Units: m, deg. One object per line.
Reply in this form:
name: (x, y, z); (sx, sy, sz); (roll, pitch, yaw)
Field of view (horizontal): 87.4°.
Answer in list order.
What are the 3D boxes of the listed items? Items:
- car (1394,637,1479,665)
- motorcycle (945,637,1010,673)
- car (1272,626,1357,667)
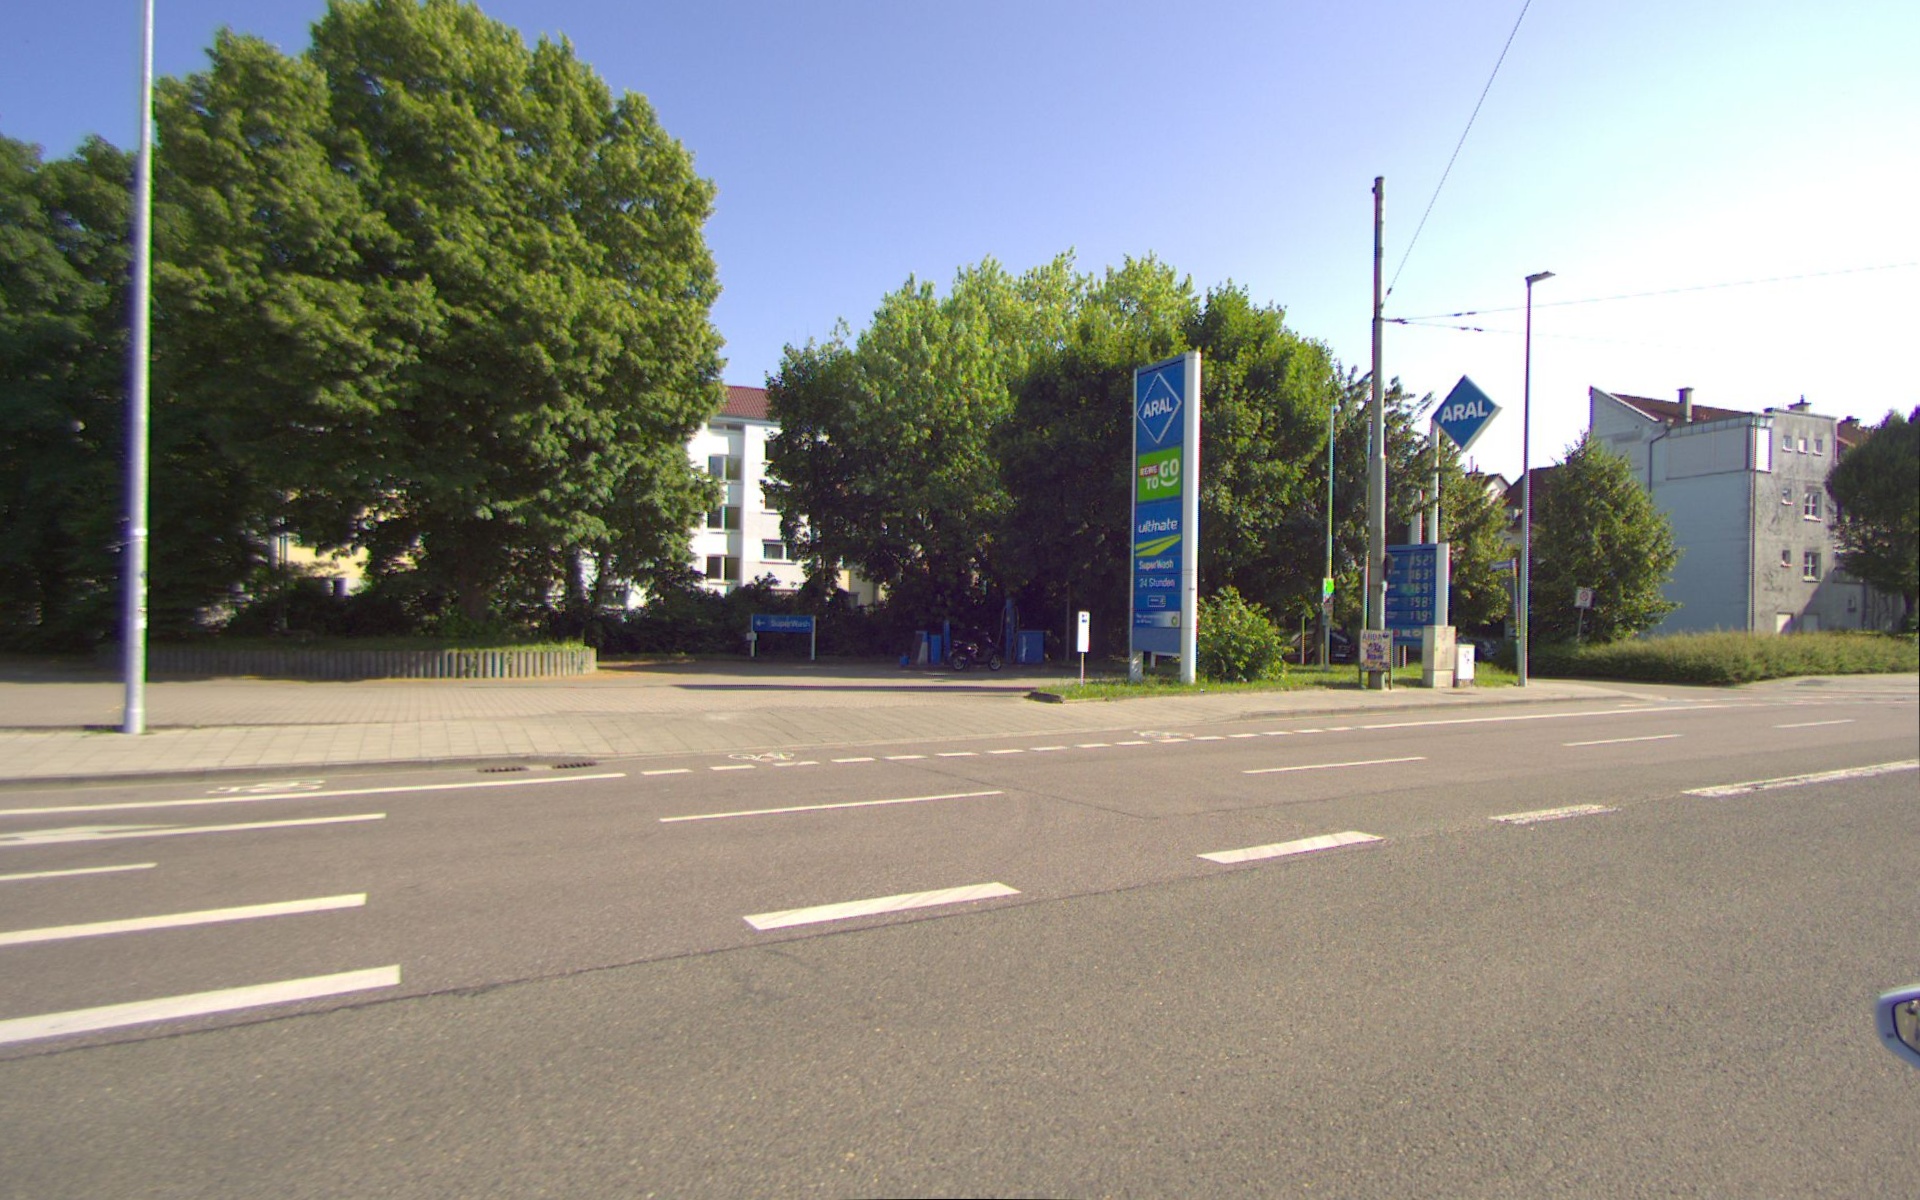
car: (23.379, 2.484, 49.429); (1.716, 1.285, 3.782); (1, -1, -17)
motorcycle: (0.500, 1.582, 28.973); (1.883, 0.995, 0.515); (1, -1, -31)
car: (16.424, 2.137, 46.745); (1.743, 1.719, 3.988); (3, -2, -15)
